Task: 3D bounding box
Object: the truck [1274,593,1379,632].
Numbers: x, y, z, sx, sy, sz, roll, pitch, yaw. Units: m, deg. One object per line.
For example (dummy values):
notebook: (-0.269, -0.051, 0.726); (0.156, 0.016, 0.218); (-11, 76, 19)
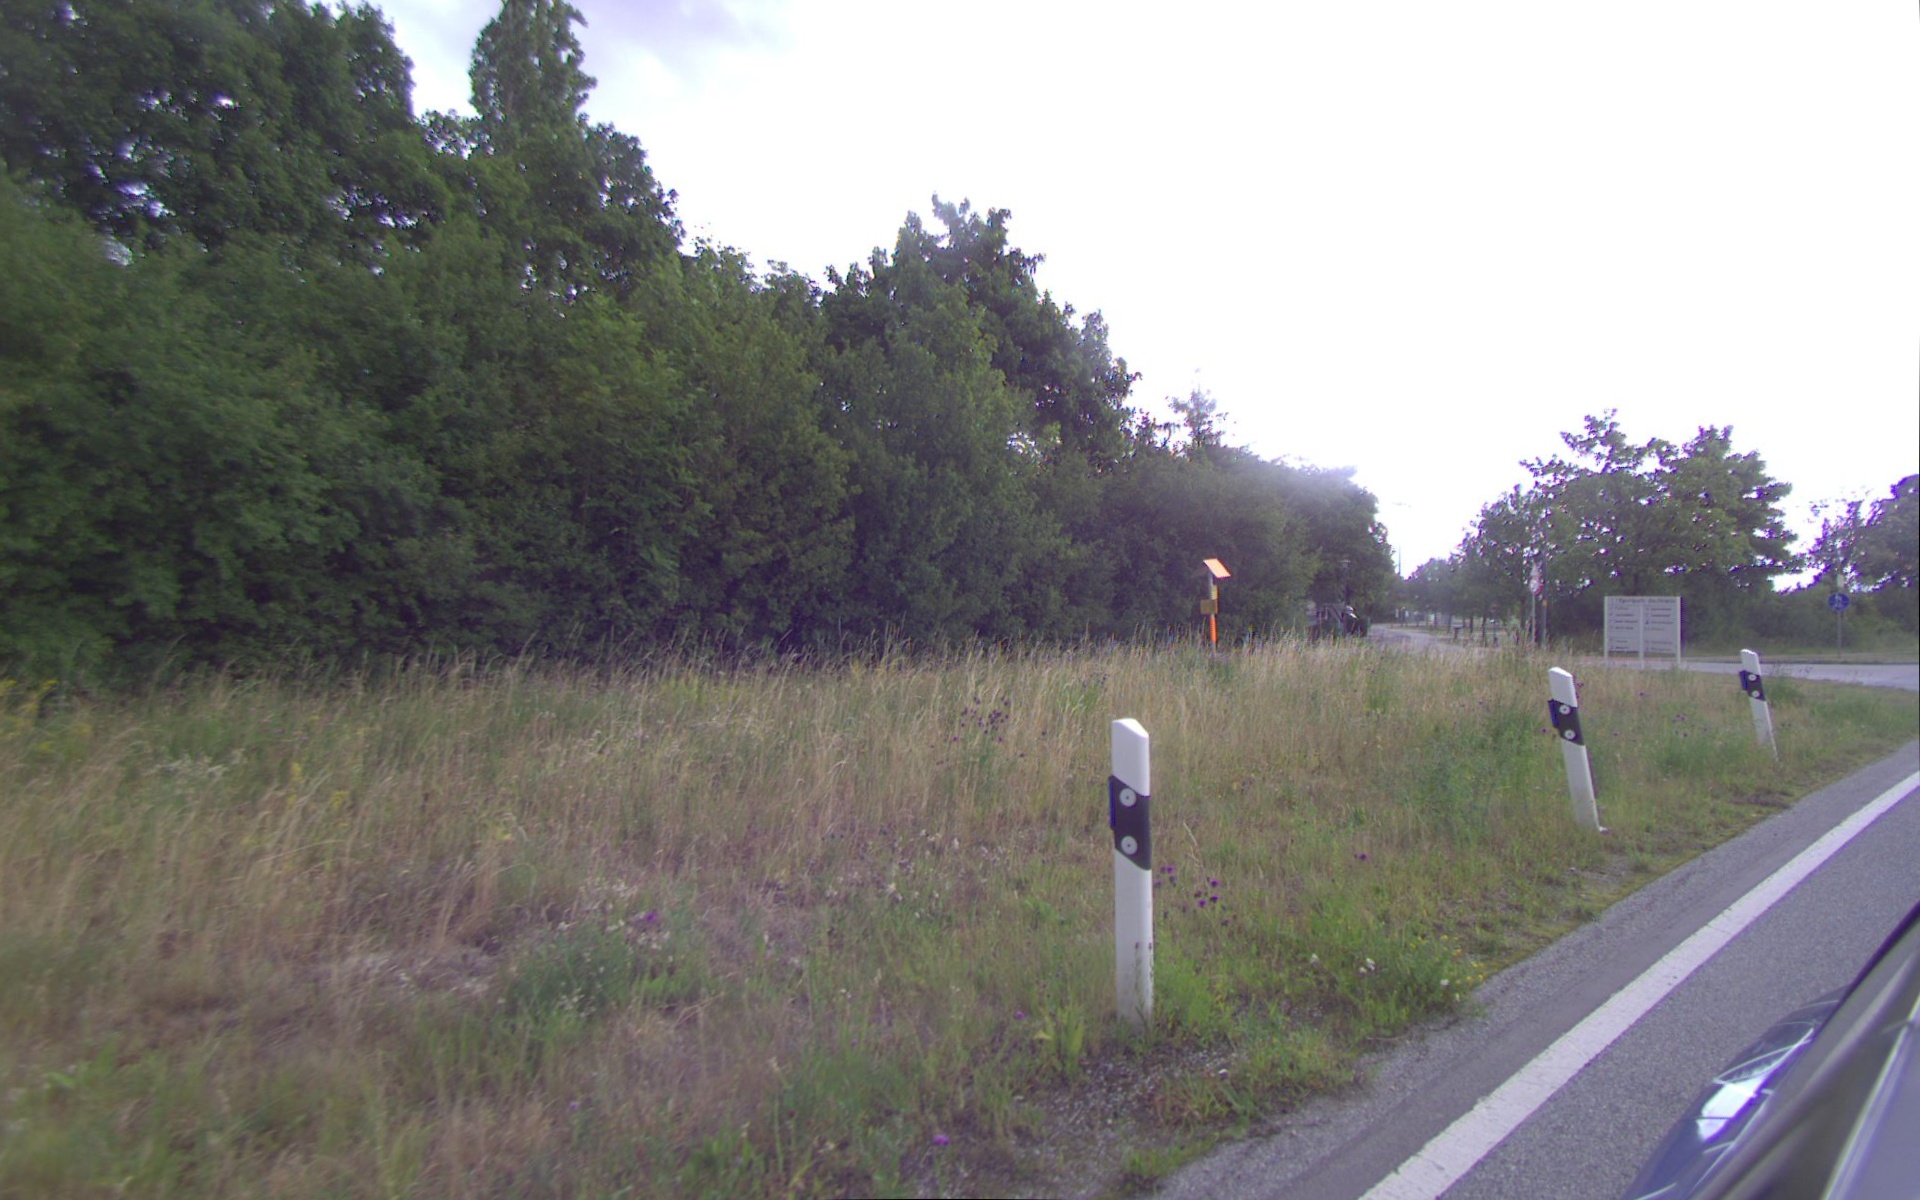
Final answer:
truck: (31.619, 1.009, 87.316); (8.285, 3.149, 3.047); (0, 0, 25)
